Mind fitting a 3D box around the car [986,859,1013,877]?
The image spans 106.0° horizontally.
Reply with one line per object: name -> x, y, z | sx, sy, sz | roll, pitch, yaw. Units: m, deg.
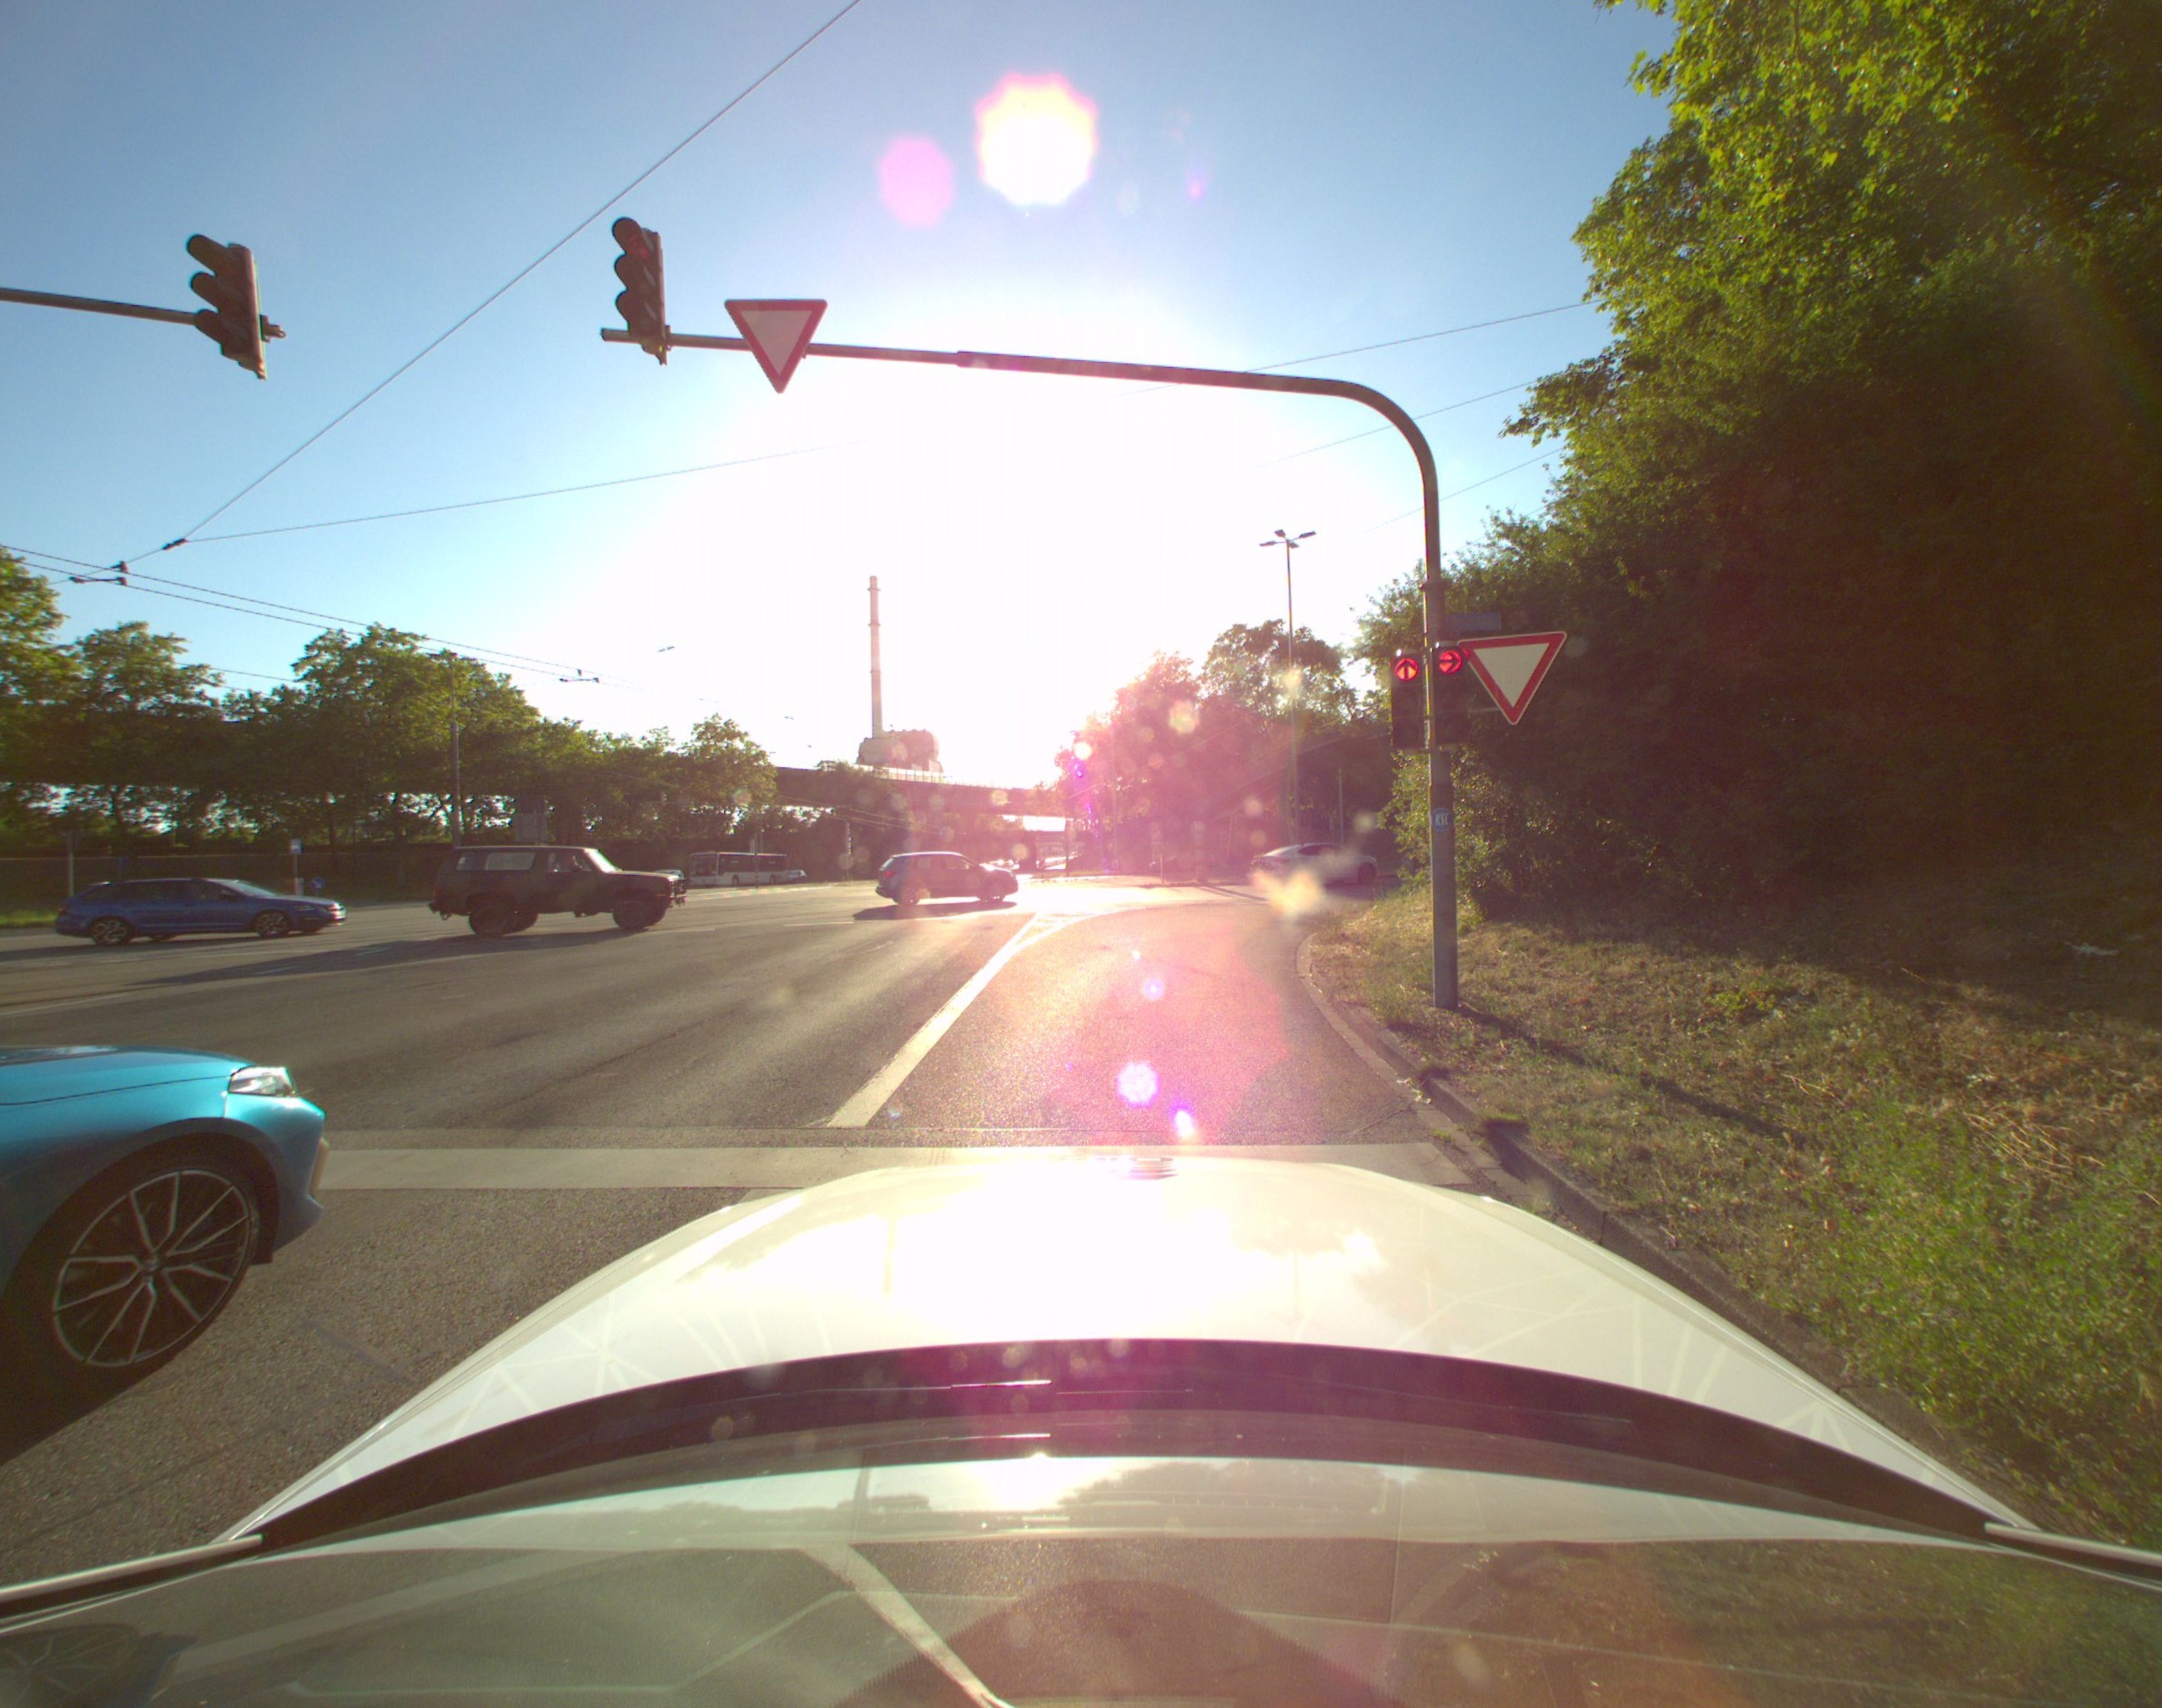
car -> -6.593, 1.130, 66.191 | 1.660, 1.405, 4.197 | -1, 0, 0

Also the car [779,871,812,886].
car -> -28.565, 2.452, 81.614 | 1.600, 1.419, 4.012 | -1, 0, 3

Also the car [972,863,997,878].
car -> -9.471, 1.585, 80.214 | 1.658, 1.405, 4.448 | -1, 0, 3

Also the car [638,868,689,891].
car -> -30.133, 1.799, 58.862 | 1.601, 1.512, 4.007 | -1, 0, 0

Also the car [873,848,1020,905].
car -> -4.158, 0.658, 25.211 | 4.250, 1.575, 1.682 | -1, 0, -20

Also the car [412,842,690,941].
car -> -11.792, 0.774, 18.602 | 4.945, 1.991, 2.023 | -1, 0, -20

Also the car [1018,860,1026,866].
car -> -15.449, 2.286, 212.524 | 1.600, 1.419, 4.012 | -1, 0, 3

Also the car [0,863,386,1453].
car -> -3.566, 0.797, 1.070 | 1.709, 1.466, 4.205 | -2, 0, -1

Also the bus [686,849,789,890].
bus -> -29.419, 1.374, 70.681 | 2.532, 3.130, 12.931 | -2, -2, 4

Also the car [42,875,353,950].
car -> -20.400, 1.297, 19.084 | 4.628, 1.458, 1.681 | -1, 0, -22

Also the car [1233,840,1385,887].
car -> 8.411, 0.337, 30.055 | 5.366, 1.575, 1.729 | -1, 0, -19

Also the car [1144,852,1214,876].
car -> 6.895, 0.669, 57.086 | 4.585, 1.575, 1.685 | -1, 0, -16
